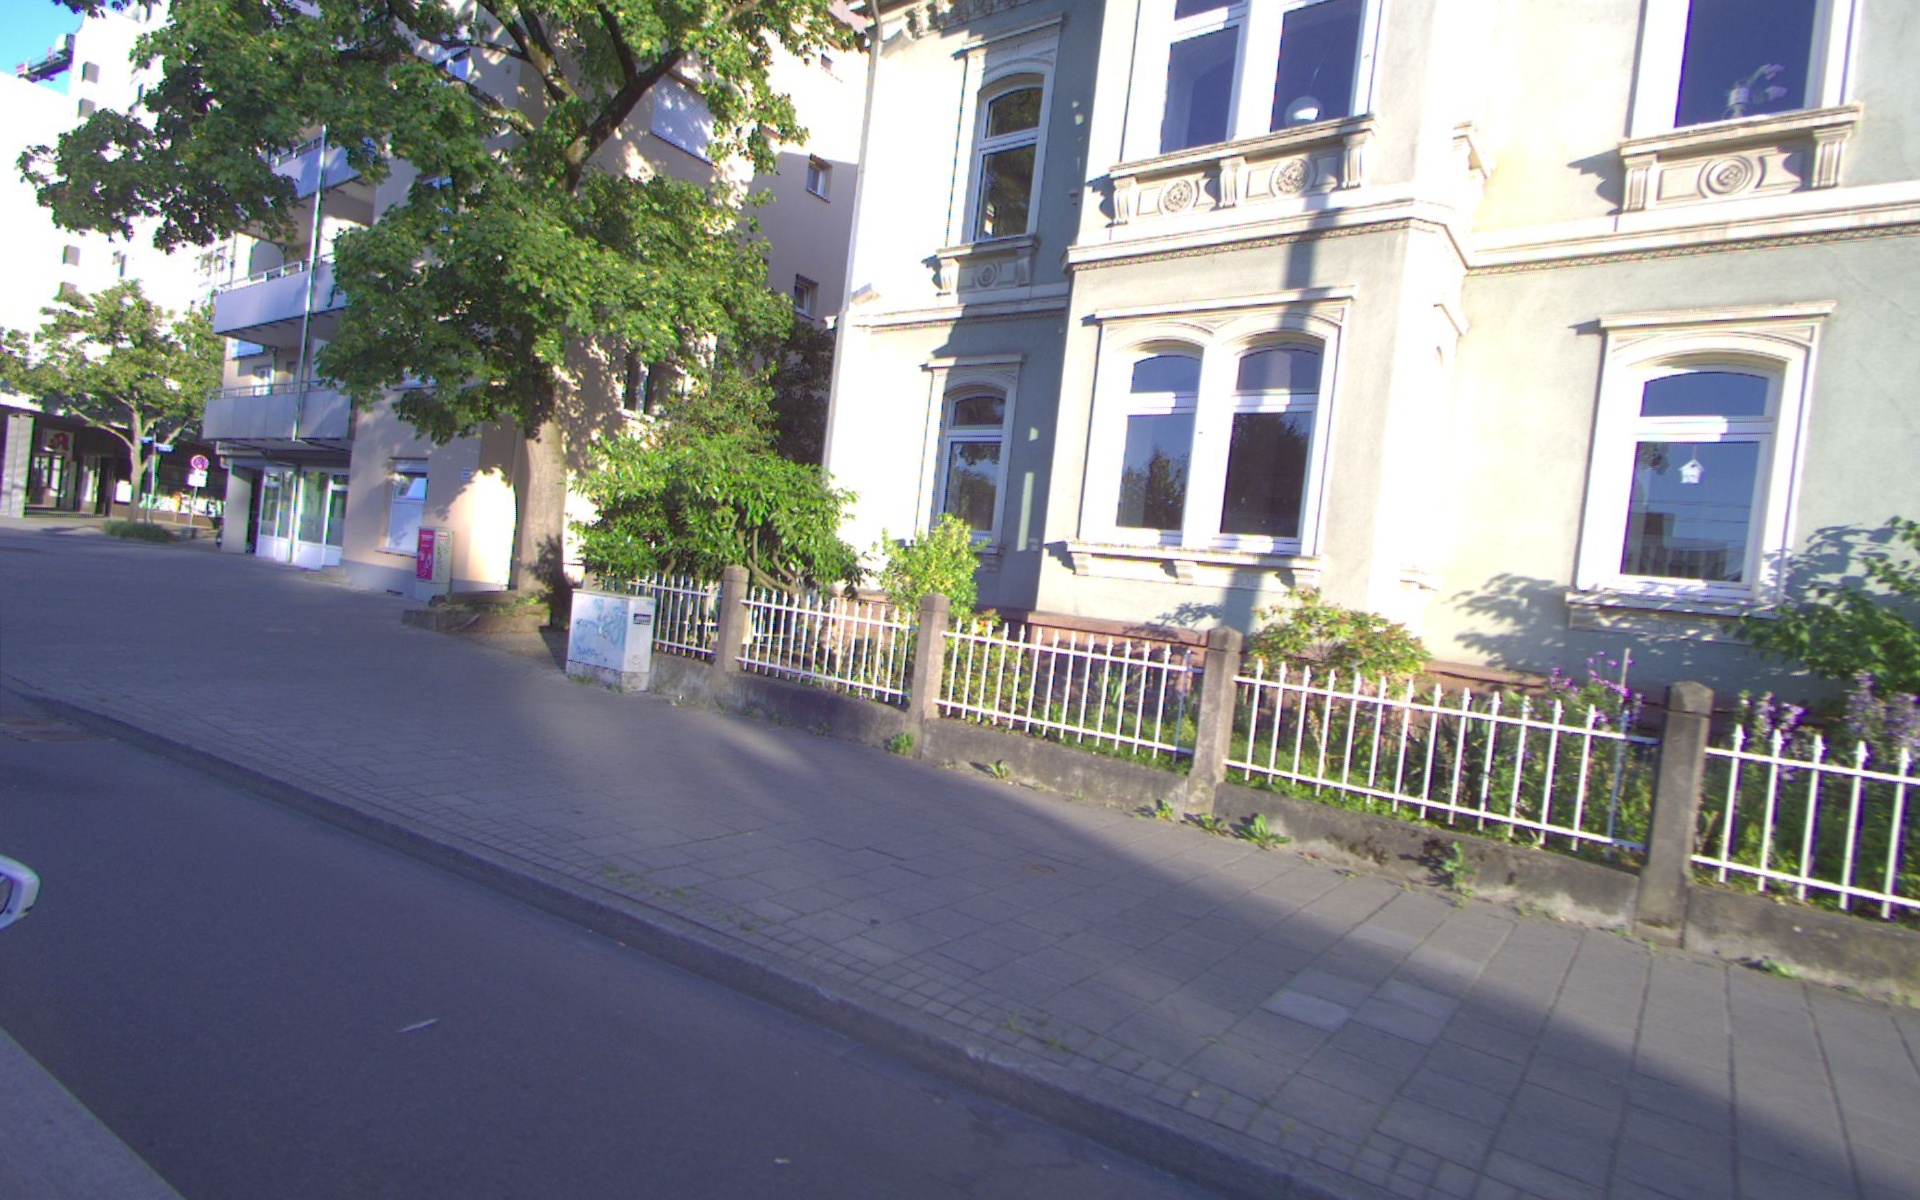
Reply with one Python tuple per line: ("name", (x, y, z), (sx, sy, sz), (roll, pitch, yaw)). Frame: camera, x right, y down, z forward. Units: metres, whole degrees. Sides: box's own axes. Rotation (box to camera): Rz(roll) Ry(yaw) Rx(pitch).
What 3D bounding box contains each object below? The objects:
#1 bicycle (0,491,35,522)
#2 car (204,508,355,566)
("bicycle", (-41.447, -4.112, 43.815), (1.985, 1.162, 0.691), (7, -2, 17))
("car", (-23.833, -2.151, 35.340), (1.682, 1.605, 4.033), (3, -1, 40))
